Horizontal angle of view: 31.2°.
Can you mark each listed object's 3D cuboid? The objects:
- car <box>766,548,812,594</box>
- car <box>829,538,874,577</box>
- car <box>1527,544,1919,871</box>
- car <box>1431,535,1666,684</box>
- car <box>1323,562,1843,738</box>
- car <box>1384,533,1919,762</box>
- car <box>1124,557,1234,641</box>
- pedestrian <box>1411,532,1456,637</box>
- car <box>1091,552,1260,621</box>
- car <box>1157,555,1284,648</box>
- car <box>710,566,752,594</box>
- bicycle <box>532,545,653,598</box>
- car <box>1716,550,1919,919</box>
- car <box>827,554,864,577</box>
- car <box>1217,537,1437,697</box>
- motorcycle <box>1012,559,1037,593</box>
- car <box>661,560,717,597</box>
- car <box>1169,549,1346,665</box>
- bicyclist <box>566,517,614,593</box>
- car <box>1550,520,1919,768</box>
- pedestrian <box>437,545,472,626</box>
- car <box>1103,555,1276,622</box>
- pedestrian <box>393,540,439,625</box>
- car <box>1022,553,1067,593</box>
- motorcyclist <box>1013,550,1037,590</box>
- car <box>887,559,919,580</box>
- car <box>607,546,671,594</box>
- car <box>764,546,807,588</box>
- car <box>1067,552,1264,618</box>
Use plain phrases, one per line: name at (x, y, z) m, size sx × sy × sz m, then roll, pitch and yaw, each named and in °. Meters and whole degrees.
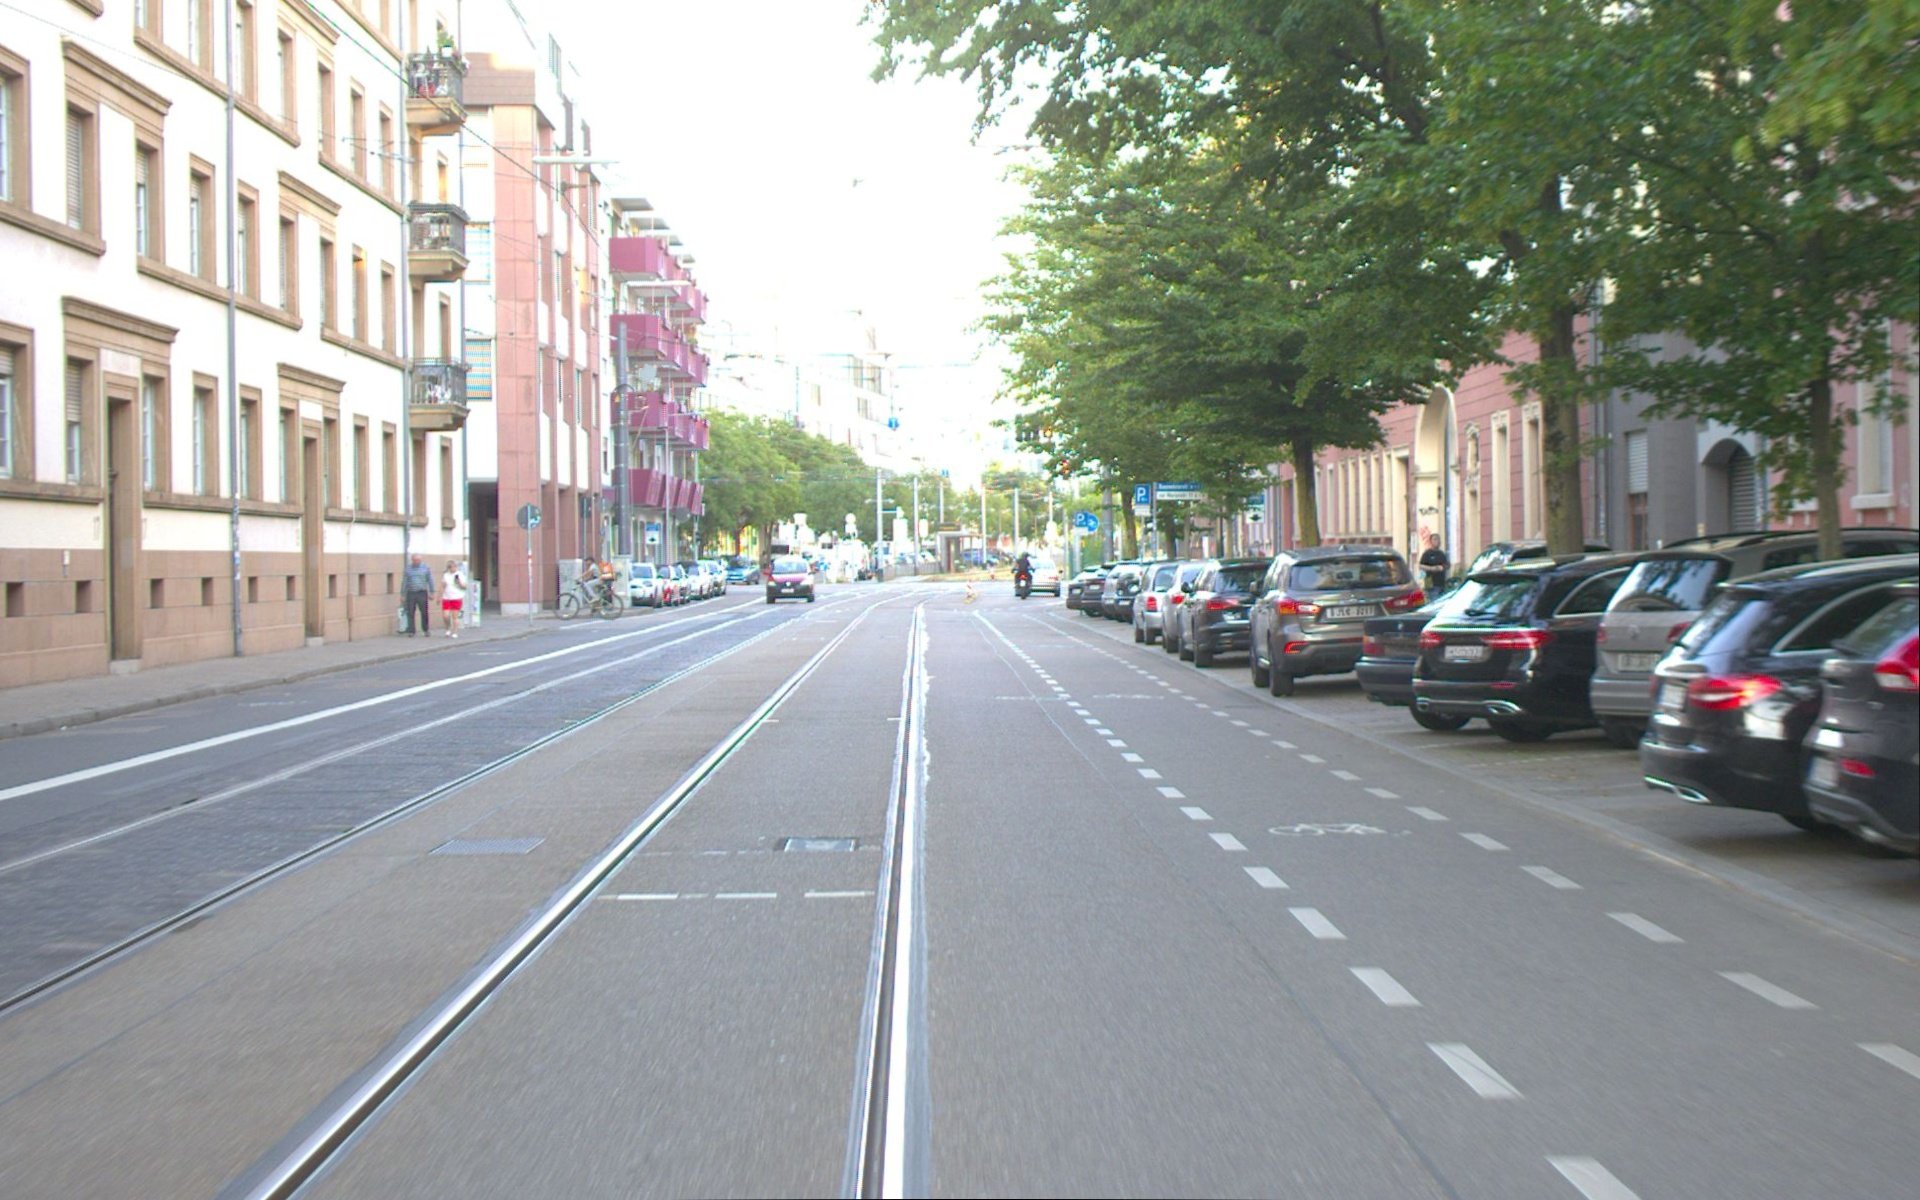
car at (-6.075, -1.041, 122.531) m, size 1.559 × 1.553 × 3.755 m, roll -2°, pitch 1°, yaw -3°
car at (-7.038, -2.767, 223.830) m, size 2.461 × 2.474 × 5.808 m, roll -1°, pitch 1°, yaw 3°
car at (5.261, 0.448, 17.432) m, size 4.376 × 1.459 × 1.720 m, roll -2°, pitch 1°, yaw -18°
car at (6.612, 0.073, 39.016) m, size 1.879 × 1.578 × 4.021 m, roll -1°, pitch 1°, yaw -1°
car at (5.362, 0.388, 29.515) m, size 4.248 × 1.383 × 1.621 m, roll -1°, pitch 1°, yaw -26°
car at (5.458, 0.320, 26.521) m, size 3.960 × 1.548 × 1.720 m, roll -2°, pitch 2°, yaw -18°
car at (3.869, -0.042, 61.205) m, size 1.619 × 1.376 × 3.776 m, roll -2°, pitch 1°, yaw -1°
pedestrian at (8.214, -0.267, 59.670) m, size 0.680 × 1.810 × 0.600 m, roll 0°, pitch 0°, yaw 0°
car at (5.103, -0.331, 81.430) m, size 3.554 × 1.511 × 1.744 m, roll -2°, pitch 1°, yaw -25°
car at (4.172, -0.003, 55.629) m, size 1.780 × 1.376 × 4.691 m, roll -2°, pitch 1°, yaw 2°
car at (-13.992, -1.221, 210.215) m, size 1.683 × 1.694 × 4.238 m, roll -1°, pitch 1°, yaw 8°
bicycle at (-9.850, -0.761, 92.099) m, size 3.170 × 1.349 × 0.958 m, roll -1°, pitch 0°, yaw -9°
car at (5.538, 0.483, 15.084) m, size 3.986 × 1.459 × 1.720 m, roll -2°, pitch 1°, yaw -18°
car at (-7.252, -2.193, 218.125) m, size 1.683 × 1.434 × 4.125 m, roll -1°, pitch 1°, yaw 7°
car at (4.086, 0.153, 38.908) m, size 1.879 × 1.612 × 4.262 m, roll -3°, pitch 1°, yaw -1°
motorcycle at (2.404, -0.893, 127.219) m, size 0.828 × 1.236 × 2.491 m, roll -1°, pitch 1°, yaw 3°
car at (-10.659, -0.855, 135.484) m, size 1.691 × 1.409 × 4.677 m, roll 1°, pitch 1°, yaw 2°
car at (4.113, 0.066, 48.286) m, size 1.993 × 1.484 × 5.036 m, roll -1°, pitch 1°, yaw 0°
bicyclist at (-9.914, -1.208, 92.089) m, size 1.214 × 2.007 × 0.947 m, roll 0°, pitch 1°, yaw -9°
car at (6.443, 0.253, 24.751) m, size 3.986 × 1.588 × 1.720 m, roll -2°, pitch 2°, yaw -21°
pedestrian at (-10.139, -0.291, 68.970) m, size 0.590 × 1.604 × 0.811 m, roll -1°, pitch 1°, yaw -3°
car at (5.252, -0.266, 78.795) m, size 3.554 × 1.424 × 1.669 m, roll -2°, pitch 1°, yaw -25°
pedestrian at (-10.905, -0.356, 68.971) m, size 0.795 × 1.696 × 0.981 m, roll -1°, pitch 1°, yaw -3°
car at (3.332, -1.091, 136.092) m, size 1.717 × 1.550 × 4.204 m, roll 0°, pitch 1°, yaw 1°
motorcyclist at (2.399, -1.107, 127.156) m, size 0.828 × 1.468 × 1.207 m, roll -1°, pitch 1°, yaw 3°
car at (-4.001, -2.149, 243.094) m, size 1.683 × 1.434 × 4.125 m, roll -1°, pitch 1°, yaw 7°
car at (-10.708, -1.005, 115.029) m, size 1.717 × 1.550 × 4.204 m, roll 1°, pitch 1°, yaw 0°
car at (-13.193, -2.530, 260.438) m, size 2.202 × 3.141 × 6.141 m, roll -1°, pitch 1°, yaw 7°
car at (5.173, -0.387, 86.501) m, size 4.443 × 1.511 × 2.064 m, roll -2°, pitch 1°, yaw -23°
